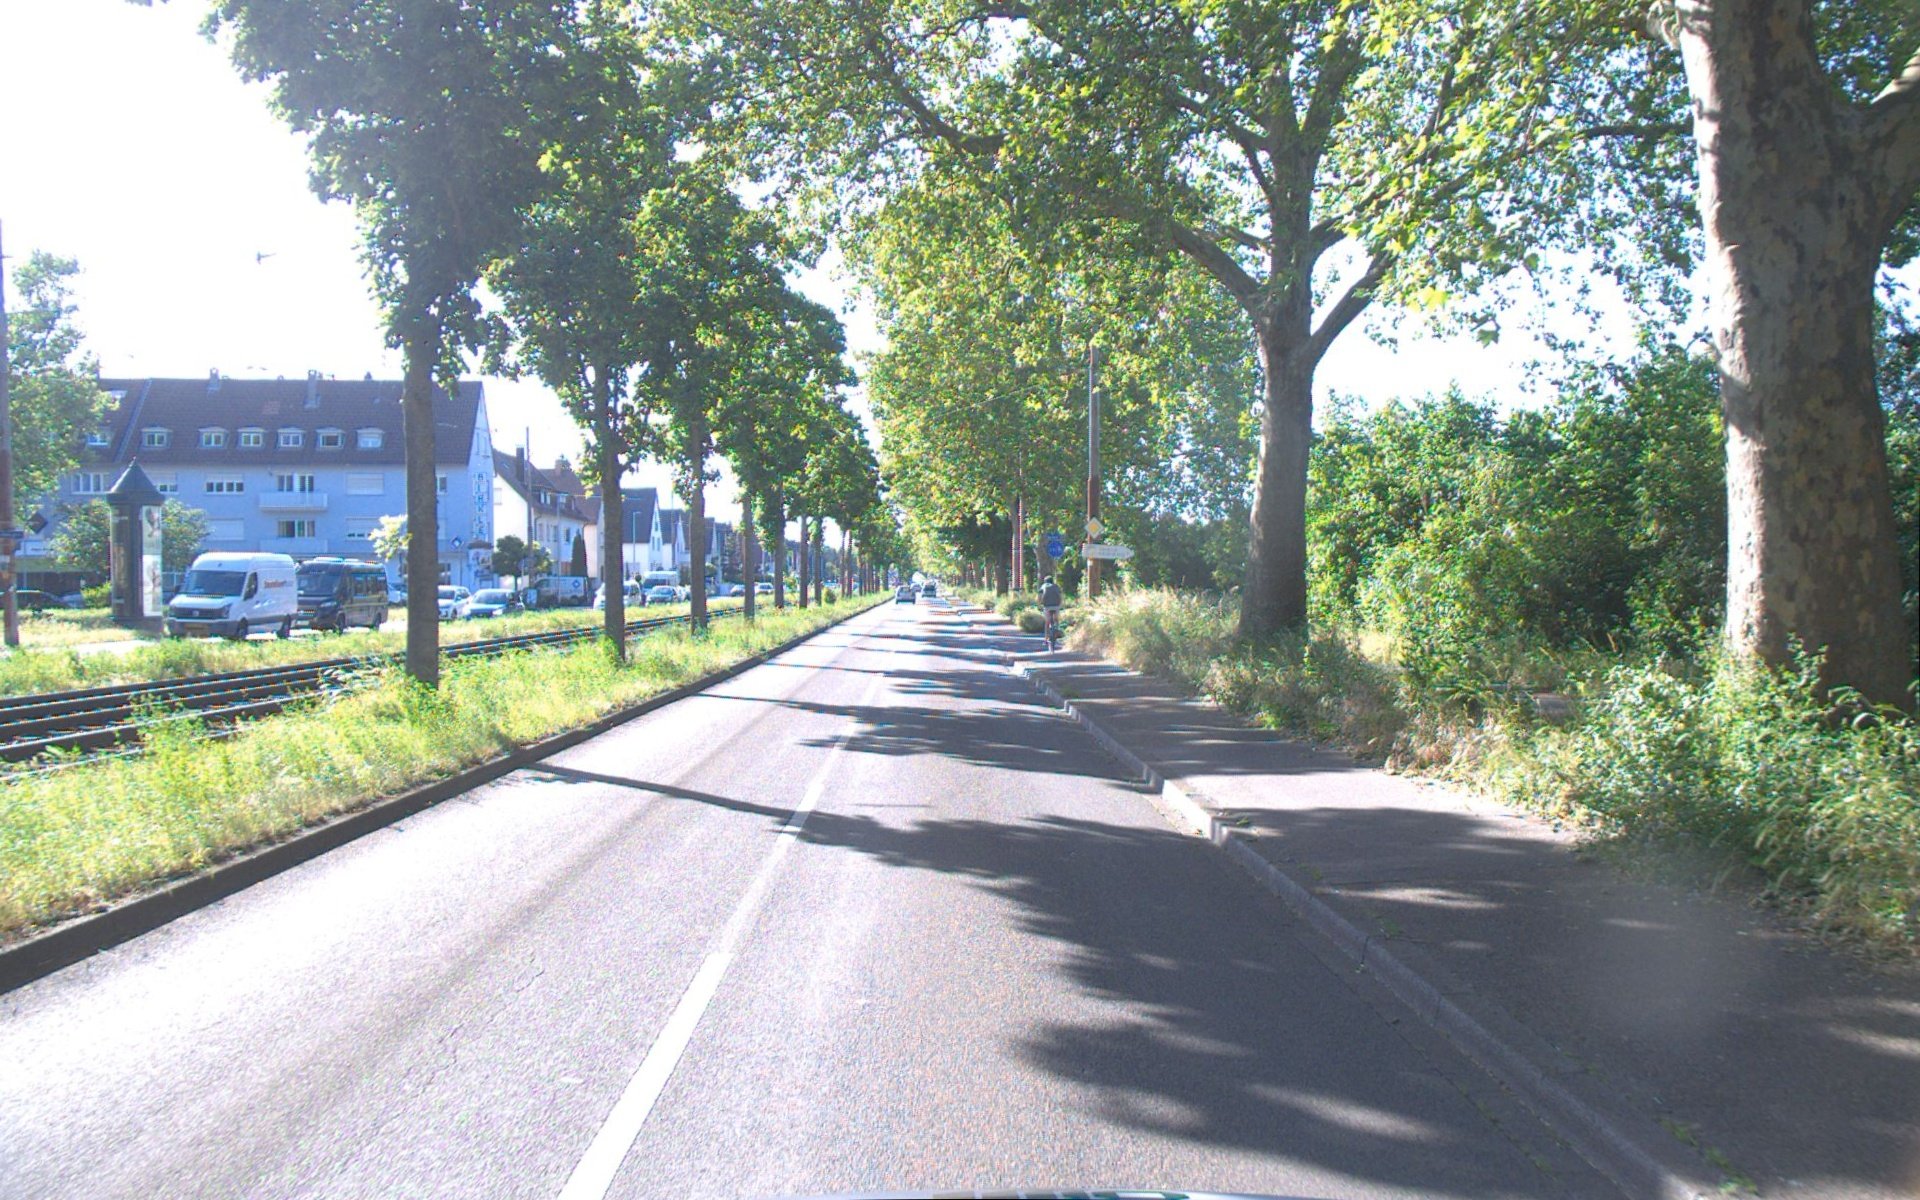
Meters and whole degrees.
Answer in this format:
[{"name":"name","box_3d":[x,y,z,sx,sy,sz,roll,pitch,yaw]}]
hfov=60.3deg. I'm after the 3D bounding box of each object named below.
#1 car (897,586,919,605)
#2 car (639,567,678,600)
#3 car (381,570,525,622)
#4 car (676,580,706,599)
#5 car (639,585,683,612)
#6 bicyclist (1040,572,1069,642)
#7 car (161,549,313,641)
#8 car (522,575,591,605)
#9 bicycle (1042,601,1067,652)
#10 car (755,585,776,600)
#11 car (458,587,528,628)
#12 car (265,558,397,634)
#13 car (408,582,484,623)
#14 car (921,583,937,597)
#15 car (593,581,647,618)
[{"name":"car","box_3d":[-4.166,-0.371,132.029,1.703,1.425,3.276,2,0,-1]},{"name":"car","box_3d":[-23.761,-1.275,130.372,1.953,2.502,6.672,2,0,-2]},{"name":"car","box_3d":[-27.093,-0.208,88.569,6.929,2.551,2.328,2,0,-6]},{"name":"car","box_3d":[-24.137,-0.947,148.569,1.953,1.609,4.497,2,1,-1]},{"name":"car","box_3d":[-18.044,-0.129,100.050,1.953,1.558,3.751,-1,1,0]},{"name":"bicyclist","box_3d":[2.272,0.157,39.783,0.601,1.657,0.909,-1,0,-1]},{"name":"car","box_3d":[-21.570,-0.141,49.689,1.961,2.540,6.135,2,0,-2]},{"name":"car","box_3d":[-28.096,-0.693,115.391,4.536,1.979,1.994,1,0,-12]},{"name":"bicycle","box_3d":[2.273,0.614,39.788,0.431,1.173,1.823,-1,1,-1]},{"name":"car","box_3d":[-19.124,-0.721,162.641,1.642,1.434,3.999,-1,1,-1]},{"name":"car","box_3d":[-17.035,0.274,60.533,1.525,1.419,3.819,2,0,-2]},{"name":"car","box_3d":[-21.606,-0.136,57.156,2.138,2.418,6.463,2,0,-1]},{"name":"car","box_3d":[-21.934,0.124,70.771,1.786,1.635,4.773,2,0,-1]},{"name":"car","box_3d":[-3.545,-1.102,189.997,1.725,1.539,3.276,2,0,-1]},{"name":"car","box_3d":[-17.413,-0.013,85.007,1.774,1.775,4.980,2,0,-1]}]
